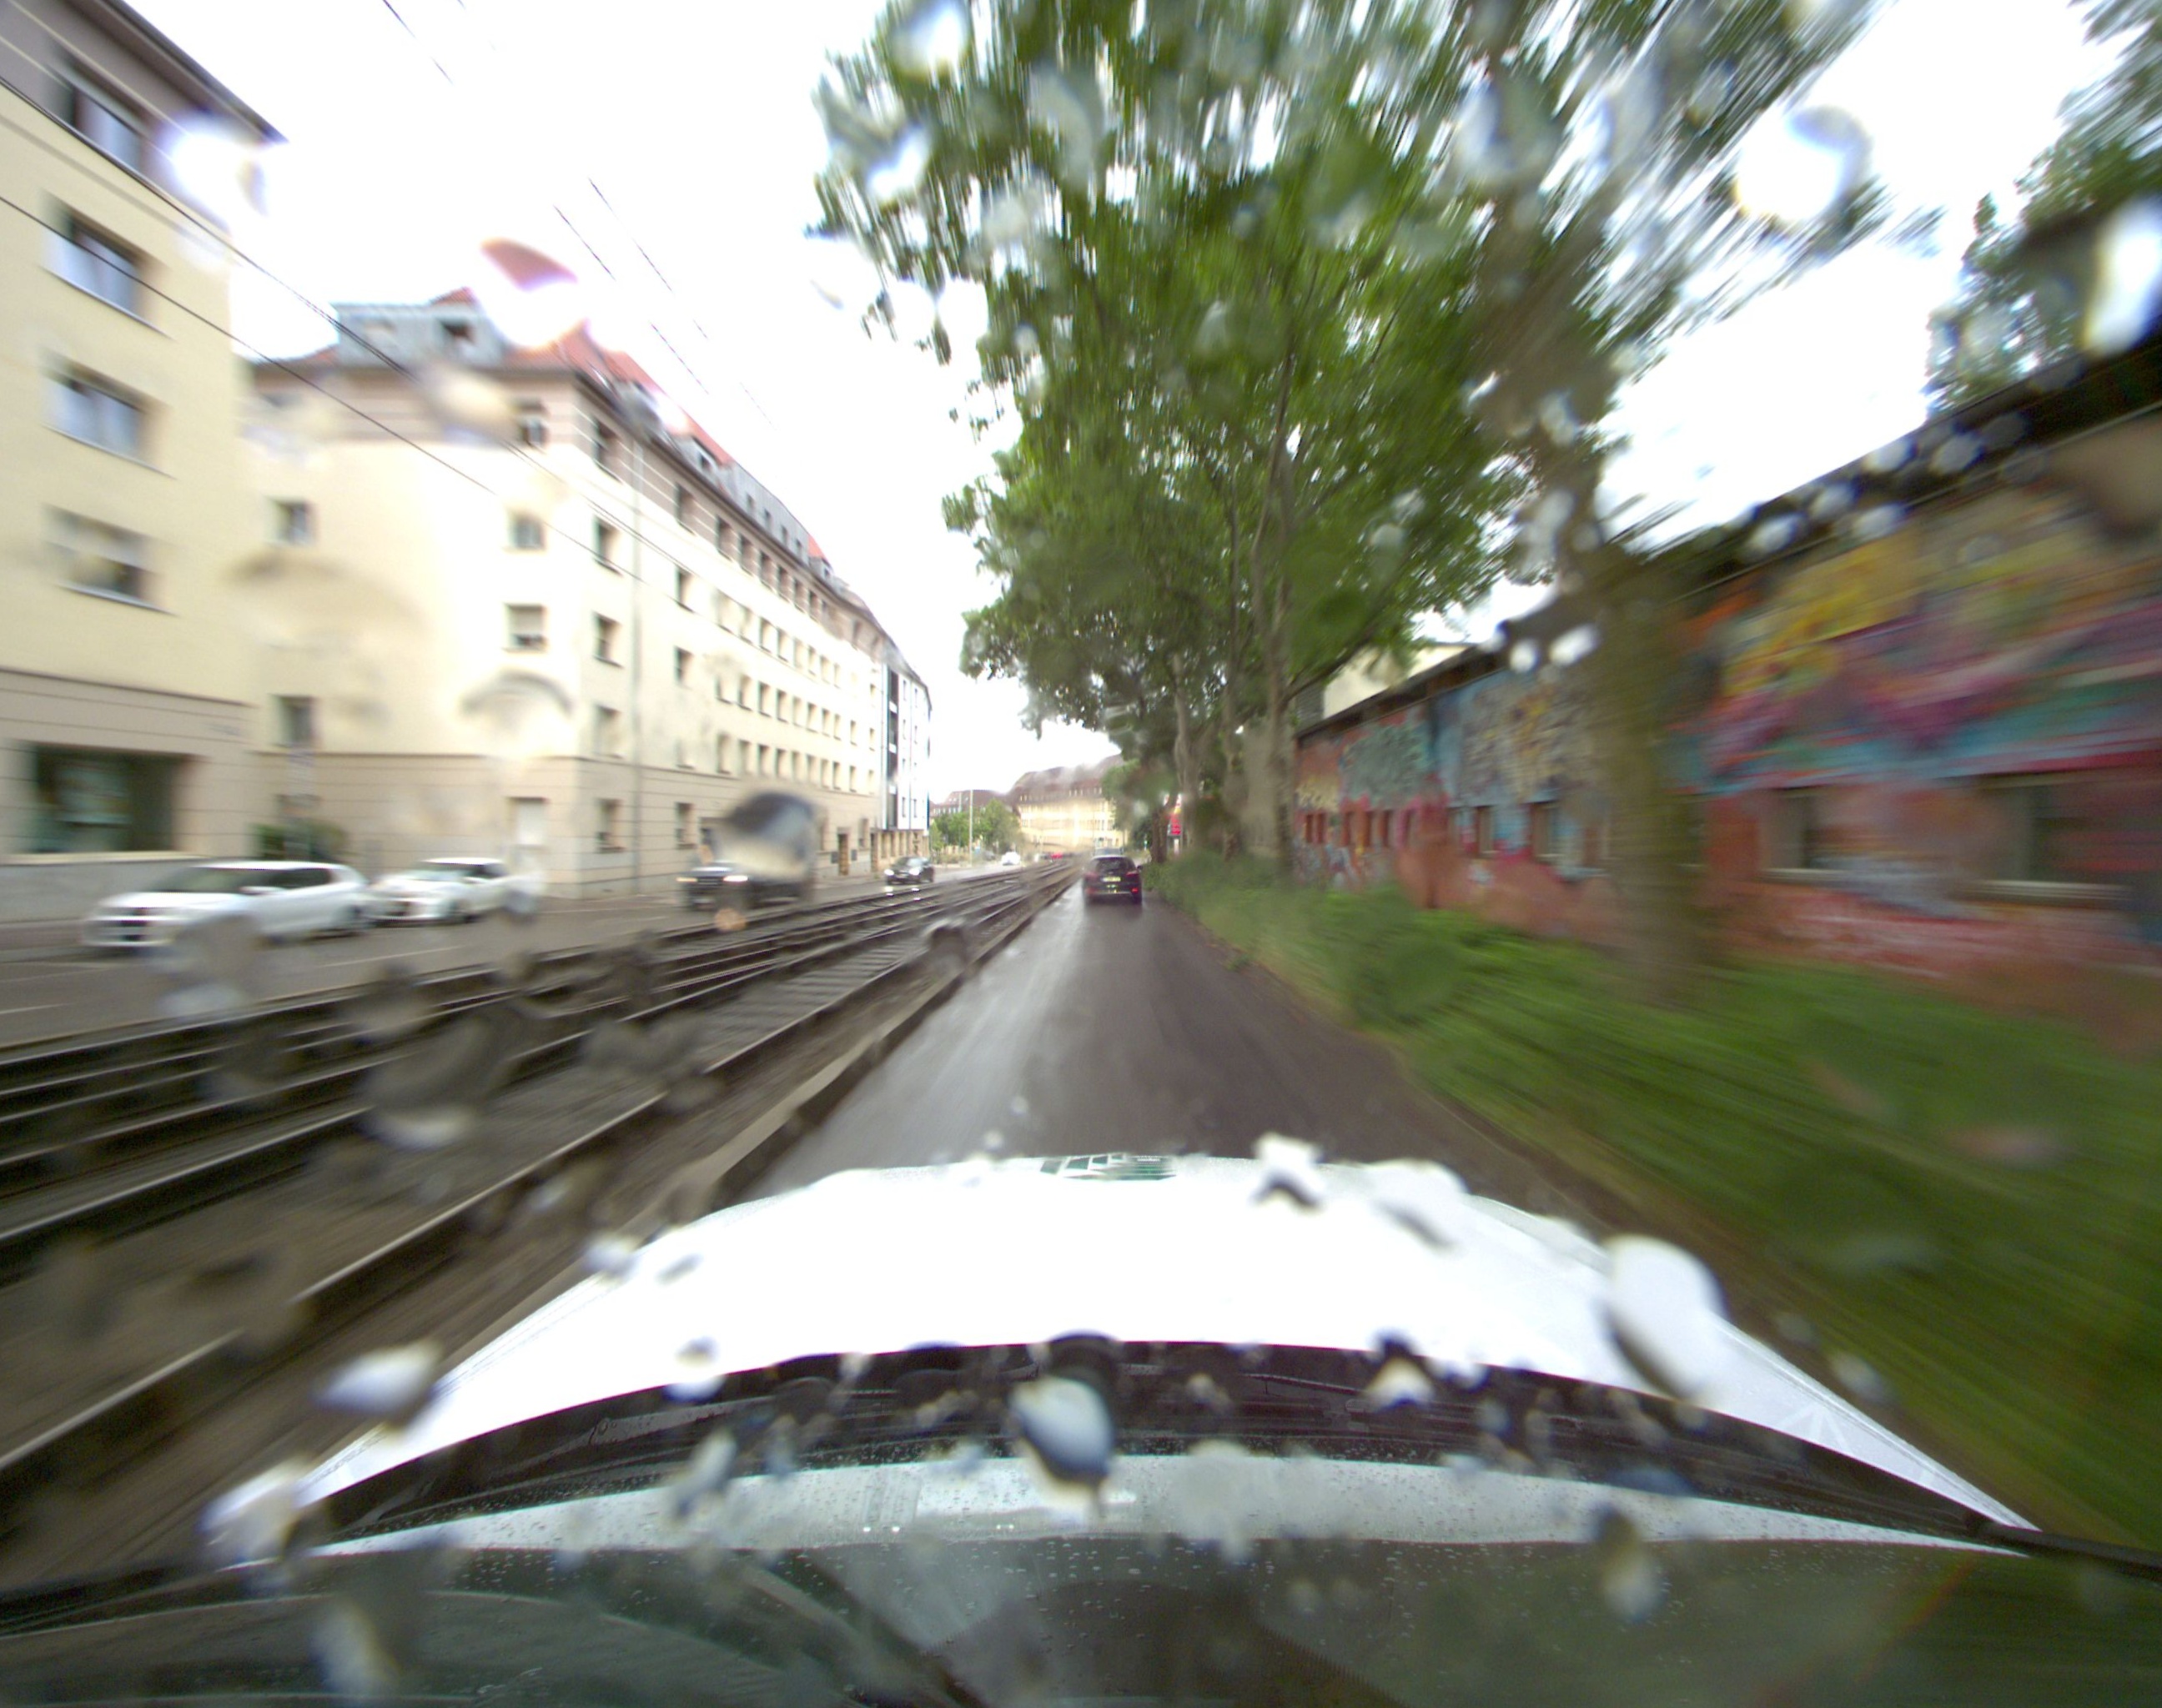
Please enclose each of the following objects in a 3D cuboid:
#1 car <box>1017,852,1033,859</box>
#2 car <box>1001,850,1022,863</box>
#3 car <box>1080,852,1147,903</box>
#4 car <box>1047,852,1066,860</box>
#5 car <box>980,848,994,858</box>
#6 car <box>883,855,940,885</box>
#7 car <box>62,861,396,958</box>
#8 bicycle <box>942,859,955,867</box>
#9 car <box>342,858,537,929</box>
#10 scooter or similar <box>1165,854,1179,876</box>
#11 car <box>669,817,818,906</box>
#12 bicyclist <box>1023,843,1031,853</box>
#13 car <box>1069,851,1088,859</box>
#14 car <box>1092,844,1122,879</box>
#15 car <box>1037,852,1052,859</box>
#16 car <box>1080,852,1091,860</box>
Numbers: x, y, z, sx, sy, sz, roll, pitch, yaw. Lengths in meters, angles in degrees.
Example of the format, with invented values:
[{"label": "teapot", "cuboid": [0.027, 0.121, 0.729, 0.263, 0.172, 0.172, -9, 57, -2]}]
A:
[{"label": "car", "cuboid": [-12.579, 0.405, 181.747, 2.007, 1.542, 3.960, 0, 0, -31]}, {"label": "car", "cuboid": [-8.295, 0.287, 97.605, 1.792, 1.482, 4.843, 0, 0, 3]}, {"label": "car", "cuboid": [0.963, 0.693, 25.691, 1.927, 1.453, 4.317, 1, 0, 1]}, {"label": "car", "cuboid": [-5.079, 0.385, 169.232, 2.008, 1.542, 3.957, 0, 0, -34]}, {"label": "car", "cuboid": [-14.756, -0.169, 127.715, 1.992, 1.542, 3.989, 0, 0, -8]}, {"label": "car", "cuboid": [-9.109, 0.840, 44.178, 1.873, 1.486, 4.856, 0, 0, 2]}, {"label": "car", "cuboid": [-14.778, 0.875, 14.506, 1.698, 1.396, 3.937, 2, 0, 1]}, {"label": "bicycle", "cuboid": [-18.421, 1.269, 113.236, 1.808, 1.061, 0.570, 0, -1, -1]}, {"label": "car", "cuboid": [-14.764, 0.842, 19.024, 1.703, 1.450, 3.540, 2, 0, -1]}, {"label": "scooter or similar", "cuboid": [5.262, 0.637, 46.875, 0.370, 1.234, 1.378, -2, -2, 24]}, {"label": "car", "cuboid": [-10.308, 0.238, 25.515, 1.986, 2.452, 6.000, 0, -1, 2]}, {"label": "bicyclist", "cuboid": [-7.257, -0.828, 109.978, 0.777, 1.313, 0.782, -2, 0, -35]}, {"label": "car", "cuboid": [-0.476, 0.292, 159.932, 2.007, 1.542, 3.959, 0, 0, -33]}, {"label": "car", "cuboid": [1.576, 0.442, 48.905, 1.733, 2.014, 3.906, 0, 0, 2]}, {"label": "car", "cuboid": [-7.818, 0.352, 174.089, 2.004, 1.542, 3.966, -2, 0, -25]}, {"label": "car", "cuboid": [0.888, 0.404, 156.069, 1.655, 1.476, 3.635, 0, 0, -7]}]
